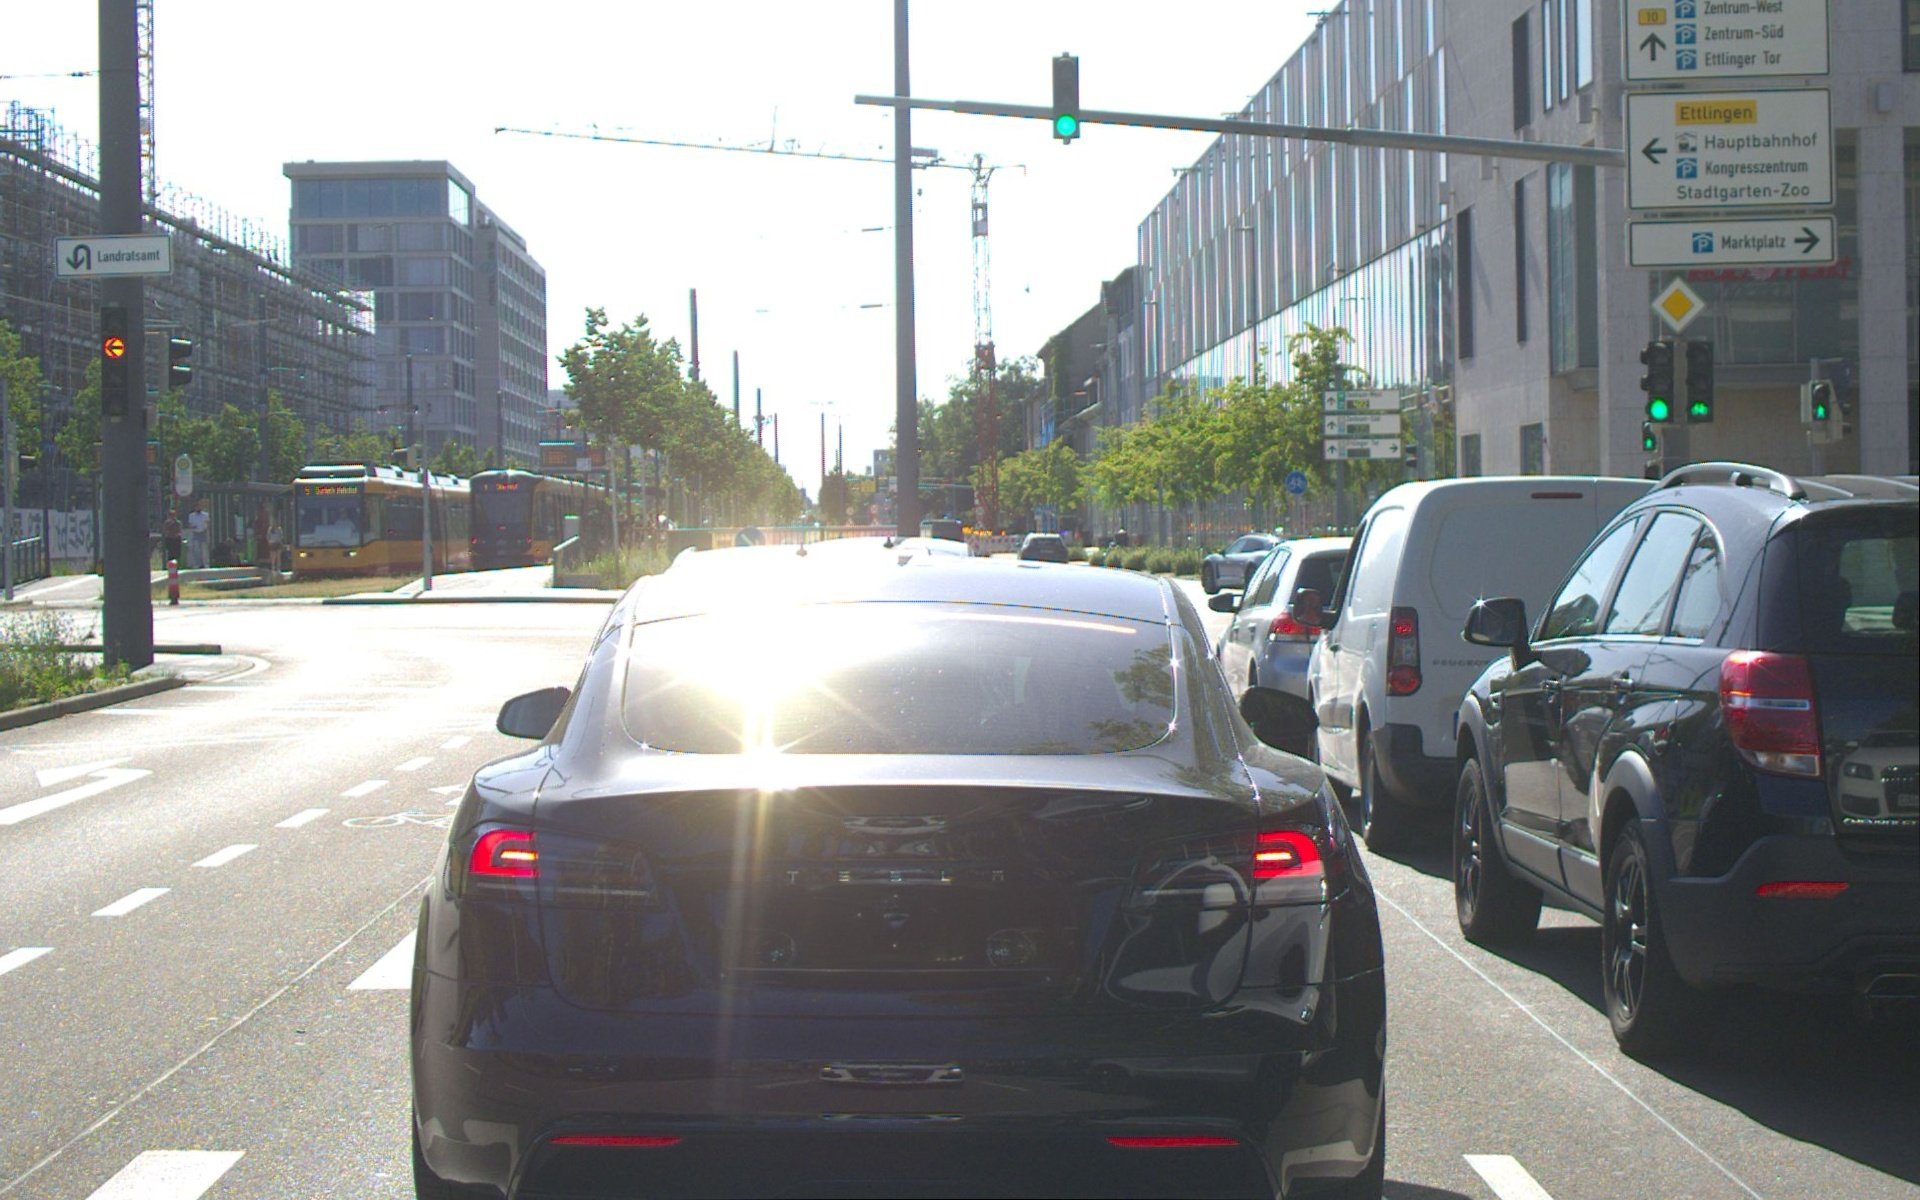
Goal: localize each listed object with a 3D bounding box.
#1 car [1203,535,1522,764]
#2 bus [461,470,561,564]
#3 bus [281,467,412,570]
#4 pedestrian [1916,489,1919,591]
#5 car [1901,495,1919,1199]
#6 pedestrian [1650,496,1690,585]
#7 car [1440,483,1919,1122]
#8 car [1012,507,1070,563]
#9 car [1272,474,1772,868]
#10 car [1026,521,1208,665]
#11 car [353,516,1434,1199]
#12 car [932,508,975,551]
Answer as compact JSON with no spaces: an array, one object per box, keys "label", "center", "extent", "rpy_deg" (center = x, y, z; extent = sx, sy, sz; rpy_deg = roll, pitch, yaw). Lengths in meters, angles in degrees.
[{"label":"car","center":[2.735,0.278,24.193],"extent":[1.721,1.427,4.187],"rpy_deg":[0,2,0]},{"label":"bus","center":[-15.021,-2.727,115.583],"extent":[2.627,2.949,9.900],"rpy_deg":[1,0,-4]},{"label":"bus","center":[-17.539,-2.268,98.737],"extent":[2.627,2.773,8.846],"rpy_deg":[1,0,-4]},{"label":"pedestrian","center":[13.727,-0.840,48.095],"extent":[0.562,1.435,0.631],"rpy_deg":[1,0,6]},{"label":"car","center":[2.633,0.656,4.452],"extent":[1.721,1.612,4.186],"rpy_deg":[0,2,1]},{"label":"pedestrian","center":[11.630,-0.966,56.327],"extent":[0.562,1.435,0.631],"rpy_deg":[1,0,6]},{"label":"car","center":[2.734,0.464,10.981],"extent":[1.721,1.647,4.187],"rpy_deg":[0,2,-1]},{"label":"car","center":[3.019,-2.418,128.991],"extent":[1.993,2.007,4.000],"rpy_deg":[1,0,-1]},{"label":"car","center":[2.747,0.265,17.719],"extent":[1.721,1.776,4.187],"rpy_deg":[-1,2,-2]},{"label":"car","center":[1.625,-0.118,36.781],"extent":[1.721,1.427,4.187],"rpy_deg":[0,2,0]},{"label":"car","center":[-0.173,0.555,8.117],"extent":[1.912,1.481,4.010],"rpy_deg":[0,2,-2]},{"label":"car","center":[-0.342,-3.401,166.349],"extent":[1.993,2.007,4.000],"rpy_deg":[1,0,-1]}]
